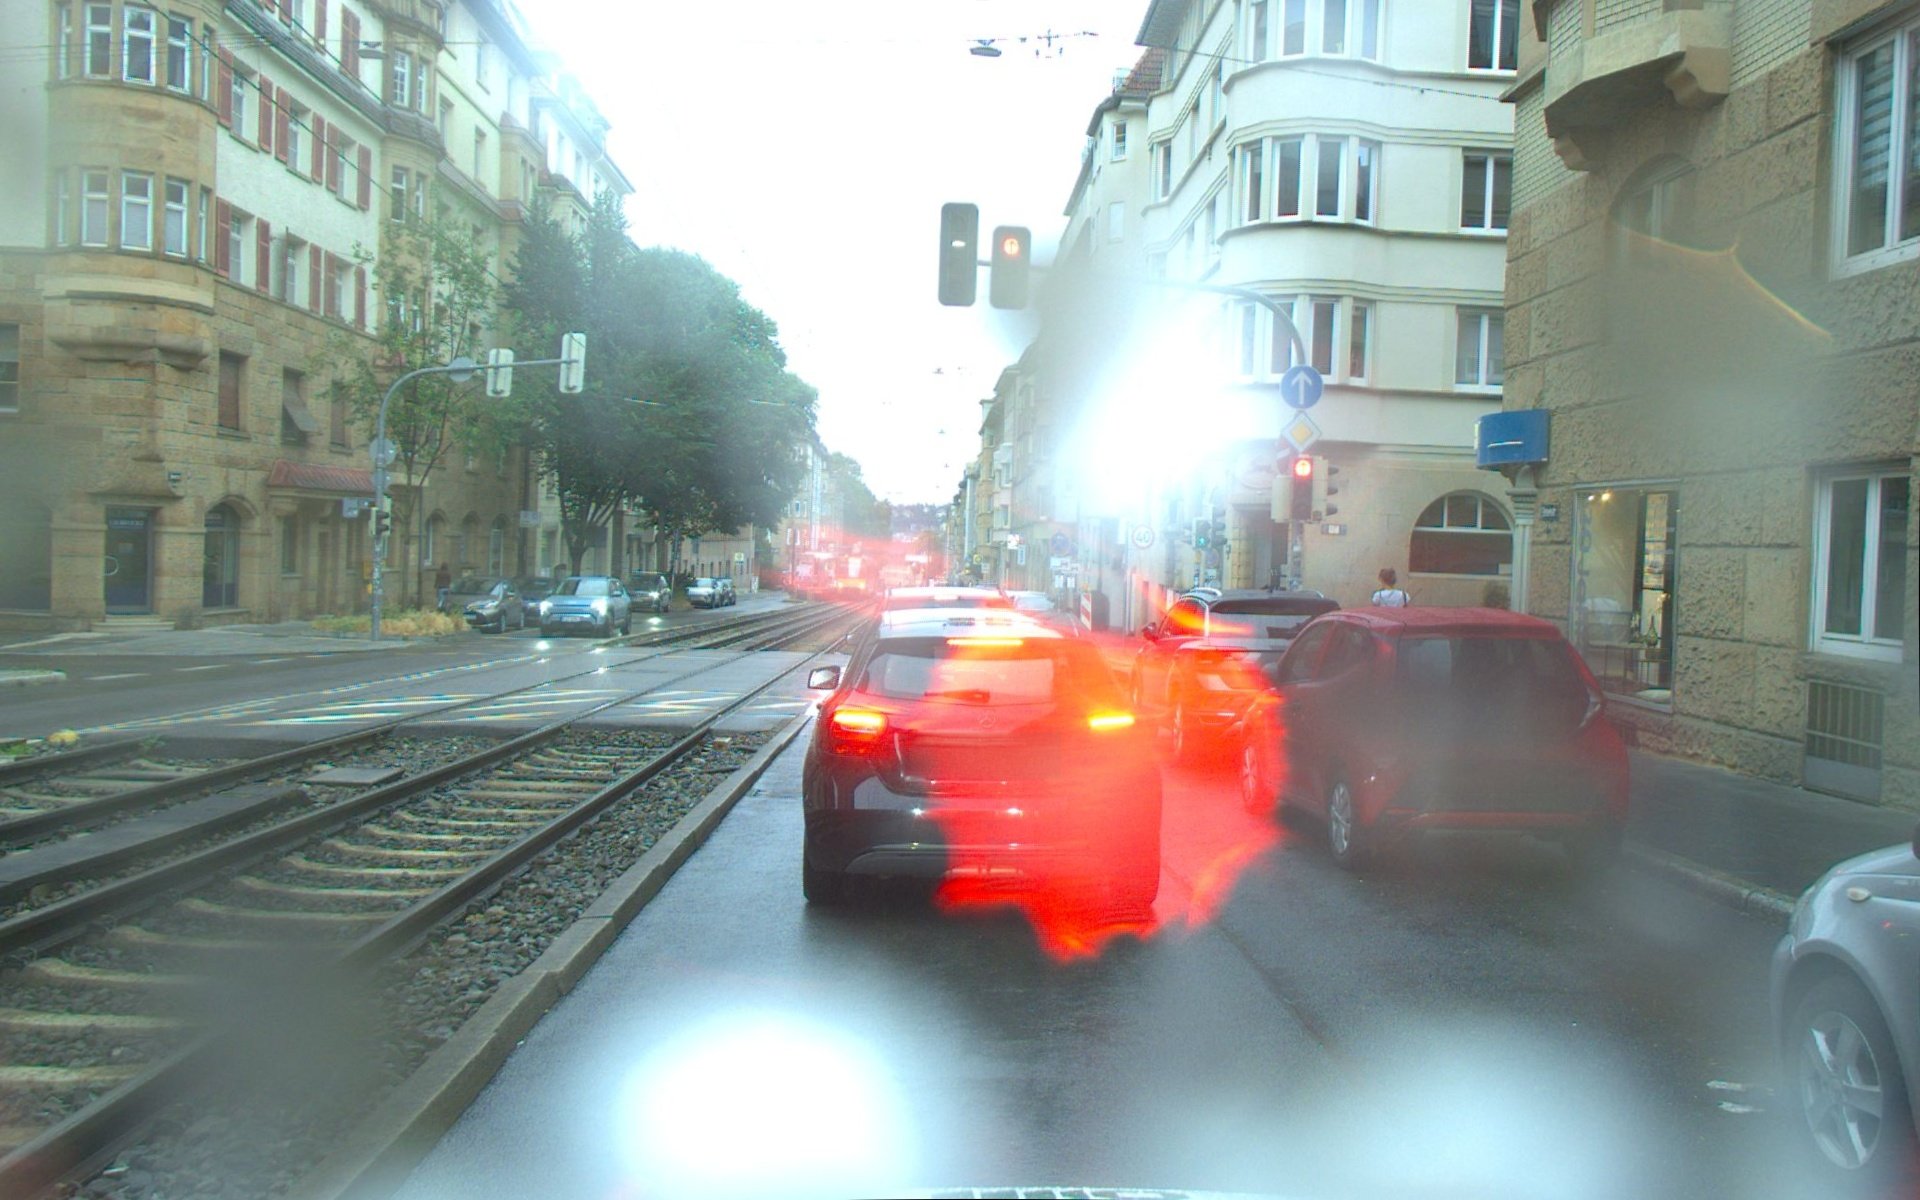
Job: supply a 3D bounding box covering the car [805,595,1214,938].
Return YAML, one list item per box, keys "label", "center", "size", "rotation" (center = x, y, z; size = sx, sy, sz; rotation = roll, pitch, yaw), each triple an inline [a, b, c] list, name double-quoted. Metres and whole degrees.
- label: "car"
  center: [0.190, 0.735, 9.405]
  size: [1.792, 1.483, 4.103]
  rotation: [1, 0, -1]

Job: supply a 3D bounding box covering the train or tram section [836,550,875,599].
- label: "train or tram section"
  center: [-8.807, -2.077, 139.932]
  size: [2.726, 3.928, 10.427]
  rotation: [1, 0, -1]

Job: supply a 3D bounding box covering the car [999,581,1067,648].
- label: "car"
  center: [1.839, 0.356, 42.620]
  size: [1.513, 1.618, 3.547]
  rotation: [1, 0, -1]

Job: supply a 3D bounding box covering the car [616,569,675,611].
- label: "car"
  center: [-13.560, -0.406, 71.459]
  size: [1.837, 1.767, 3.917]
  rotation: [1, 0, -1]

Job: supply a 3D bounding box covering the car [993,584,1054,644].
- label: "car"
  center: [1.769, 0.383, 47.093]
  size: [1.513, 1.618, 3.547]
  rotation: [1, 0, -1]

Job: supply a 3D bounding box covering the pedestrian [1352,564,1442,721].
- label: "pedestrian"
  center: [5.116, 0.484, 19.408]
  size: [0.726, 1.778, 1.111]
  rotation: [1, -1, -1]

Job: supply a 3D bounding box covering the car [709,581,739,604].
- label: "car"
  center: [-14.022, -0.430, 98.325]
  size: [1.419, 1.354, 3.270]
  rotation: [1, 0, -3]

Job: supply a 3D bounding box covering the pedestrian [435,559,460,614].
- label: "pedestrian"
  center: [-15.952, -0.411, 51.466]
  size: [0.619, 1.702, 0.701]
  rotation: [1, -1, -9]

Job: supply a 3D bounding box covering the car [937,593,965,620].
- label: "car"
  center: [-0.553, 0.399, 104.091]
  size: [1.512, 1.664, 3.687]
  rotation: [1, 0, 2]

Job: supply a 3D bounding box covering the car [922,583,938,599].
- label: "car"
  center: [-3.866, -1.162, 212.254]
  size: [1.953, 1.909, 3.999]
  rotation: [1, 0, -1]

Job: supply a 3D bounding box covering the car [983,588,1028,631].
- label: "car"
  center: [1.665, 0.332, 61.502]
  size: [1.513, 1.512, 3.547]
  rotation: [1, 0, -1]

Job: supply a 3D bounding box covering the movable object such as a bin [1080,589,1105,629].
- label: "movable object such as a bin"
  center: [4.765, 0.309, 59.597]
  size: [0.859, 1.413, 0.983]
  rotation: [1, -1, 3]

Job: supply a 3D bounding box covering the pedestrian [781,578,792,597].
- label: "pedestrian"
  center: [-18.758, -1.359, 178.878]
  size: [1.031, 1.992, 1.043]
  rotation: [2, 0, 0]

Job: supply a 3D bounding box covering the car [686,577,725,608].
- label: "car"
  center: [-13.655, -0.375, 88.920]
  size: [1.557, 1.608, 3.917]
  rotation: [1, 0, -1]

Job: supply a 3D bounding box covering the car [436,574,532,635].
- label: "car"
  center: [-13.012, 0.132, 45.450]
  size: [1.718, 1.579, 4.032]
  rotation: [1, 0, -4]

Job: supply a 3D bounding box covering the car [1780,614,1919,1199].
- label: "car"
  center: [3.122, 0.791, 3.054]
  size: [1.581, 1.493, 3.312]
  rotation: [0, 0, 0]

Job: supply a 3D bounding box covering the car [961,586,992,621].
- label: "car"
  center: [0.725, 0.139, 73.560]
  size: [1.268, 1.467, 2.928]
  rotation: [1, 0, -1]

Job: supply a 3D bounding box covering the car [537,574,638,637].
- label: "car"
  center: [-10.047, 0.149, 44.880]
  size: [1.860, 1.615, 3.972]
  rotation: [1, 0, -1]

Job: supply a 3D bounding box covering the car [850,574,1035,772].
- label: "car"
  center: [-0.177, 0.621, 15.788]
  size: [1.533, 1.637, 3.813]
  rotation: [1, 0, -1]

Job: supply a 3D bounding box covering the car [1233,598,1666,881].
- label: "car"
  center: [2.905, 0.752, 10.514]
  size: [1.609, 1.473, 3.297]
  rotation: [1, 0, -3]

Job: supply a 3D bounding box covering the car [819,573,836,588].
- label: "car"
  center: [-12.091, -1.777, 150.948]
  size: [1.349, 1.271, 3.296]
  rotation: [1, 0, -2]

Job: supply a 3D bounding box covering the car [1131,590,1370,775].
- label: "car"
  center: [2.630, 0.680, 15.749]
  size: [1.513, 1.512, 3.829]
  rotation: [1, 0, -1]

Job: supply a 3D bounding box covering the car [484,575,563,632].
- label: "car"
  center: [-13.276, 0.114, 50.476]
  size: [1.683, 1.639, 3.914]
  rotation: [1, 0, -5]
